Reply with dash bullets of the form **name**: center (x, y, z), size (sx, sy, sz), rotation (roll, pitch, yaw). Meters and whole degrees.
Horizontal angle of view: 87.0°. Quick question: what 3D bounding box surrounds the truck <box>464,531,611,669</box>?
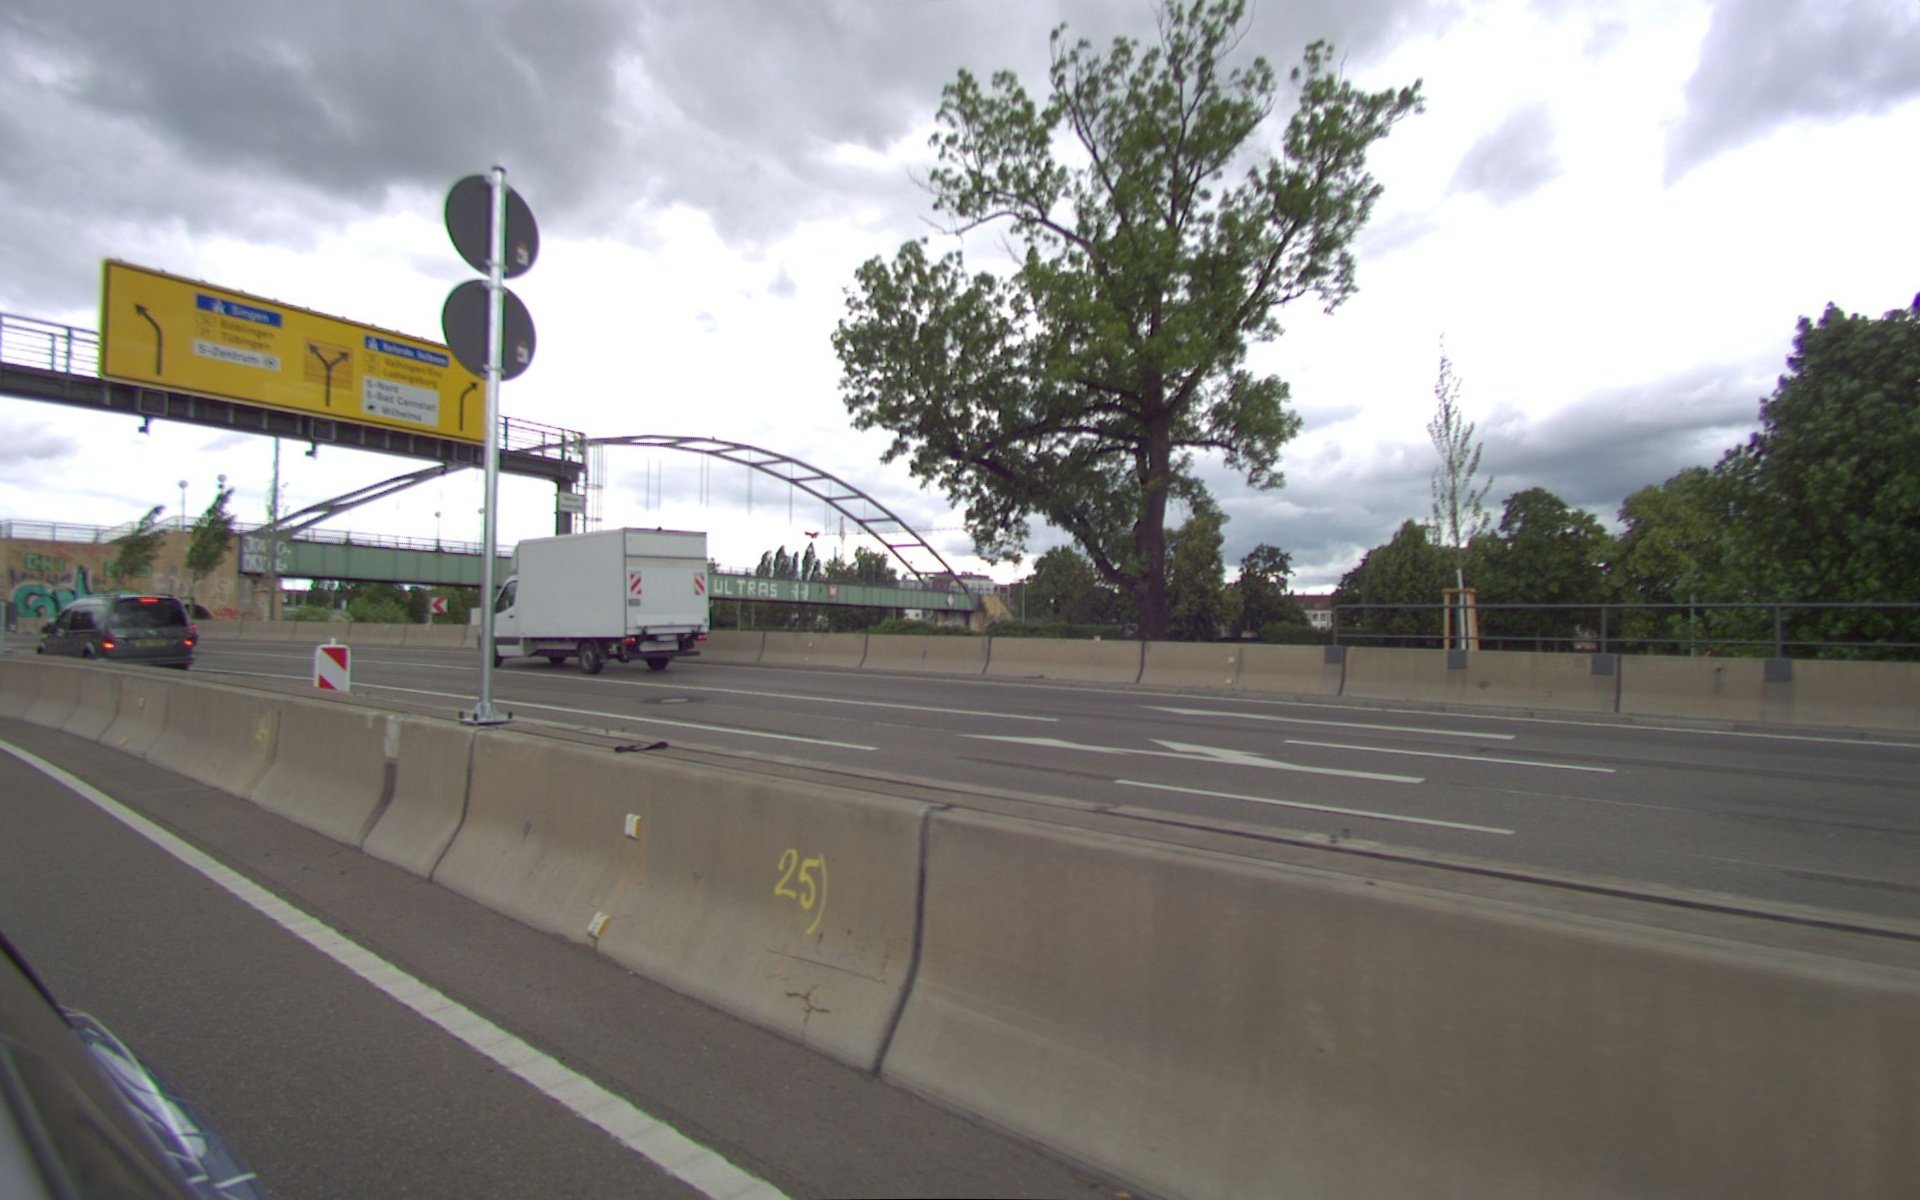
- **truck**: center (-10.419, 0.004, 24.949), size (2.985, 3.137, 2.249), rotation (0, 0, 40)

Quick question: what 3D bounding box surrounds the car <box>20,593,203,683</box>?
- **car**: center (-19.032, 0.821, 22.645), size (4.942, 1.819, 1.885), rotation (-1, -1, 35)

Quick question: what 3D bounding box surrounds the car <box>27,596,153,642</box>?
- **car**: center (-33.518, 0.716, 38.974), size (4.702, 1.685, 1.983), rotation (0, 0, 26)

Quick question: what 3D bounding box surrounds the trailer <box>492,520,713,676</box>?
- **trailer**: center (-8.312, -0.034, 23.221), size (5.707, 3.161, 2.249), rotation (0, 0, 41)
